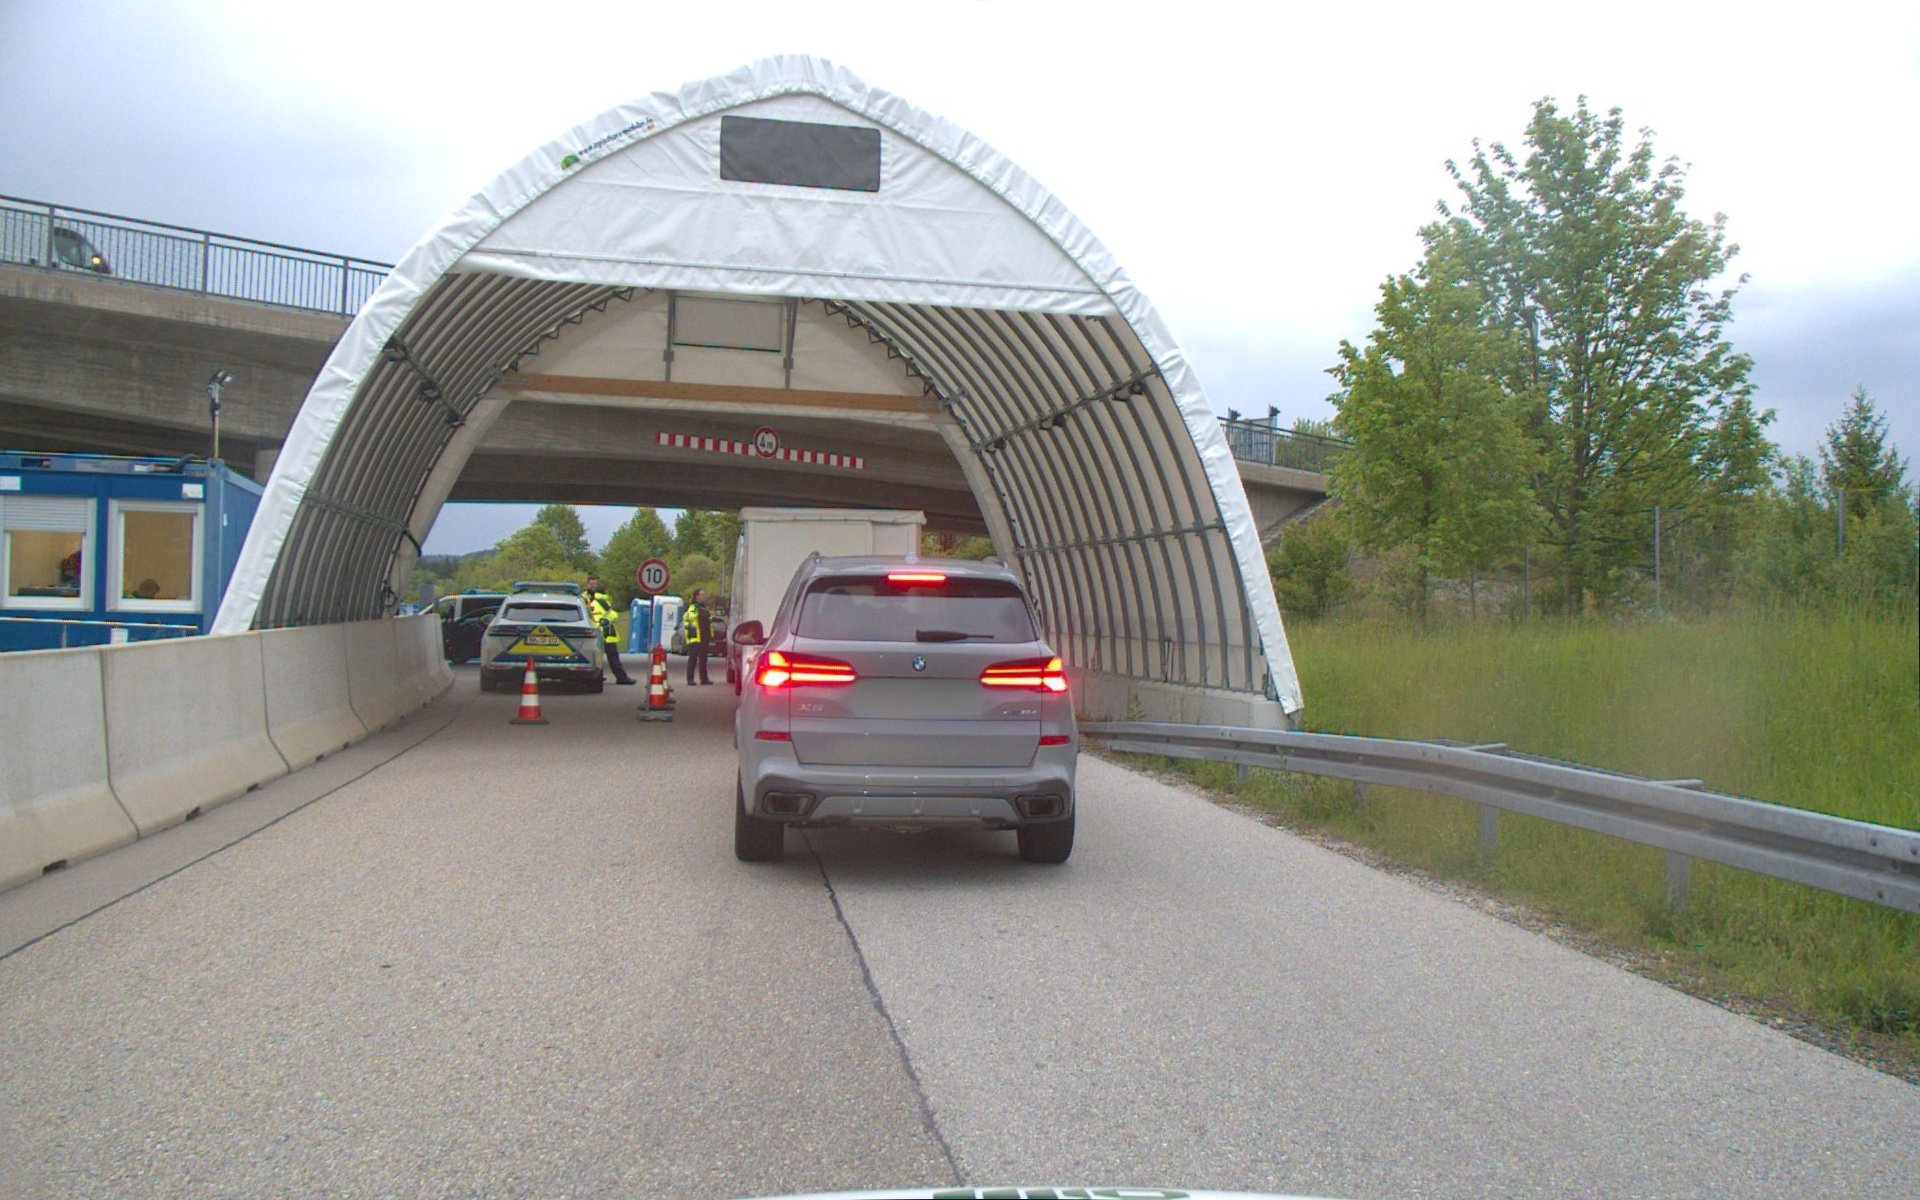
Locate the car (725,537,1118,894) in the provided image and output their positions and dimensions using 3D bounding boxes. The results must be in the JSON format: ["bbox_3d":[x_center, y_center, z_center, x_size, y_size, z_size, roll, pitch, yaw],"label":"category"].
[{"bbox_3d":[-0.457,0.591,10.460,1.957,1.796,3.991,0,0,-9],"label":"car"}]

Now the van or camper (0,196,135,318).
[{"bbox_3d":[-19.210,-6.839,32.169,5.400,1.801,1.869,1,-1,-40],"label":"van or camper"}]

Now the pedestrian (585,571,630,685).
[{"bbox_3d":[-6.171,0.485,28.968,0.736,1.952,0.760,0,-1,-15],"label":"pedestrian"}]

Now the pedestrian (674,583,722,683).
[{"bbox_3d":[-4.670,0.582,29.477,0.742,1.752,0.778,0,-1,-18],"label":"pedestrian"}]

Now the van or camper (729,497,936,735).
[{"bbox_3d":[-1.851,0.190,21.507,2.189,2.597,6.597,0,0,-9],"label":"van or camper"}]

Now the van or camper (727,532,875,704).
[{"bbox_3d":[-2.761,0.283,27.568,2.065,2.563,5.538,0,0,-10],"label":"van or camper"}]

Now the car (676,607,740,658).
[{"bbox_3d":[-8.933,1.125,58.380,1.959,1.752,3.883,0,0,-13],"label":"car"}]

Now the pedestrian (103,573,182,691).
[{"bbox_3d":[-9.846,0.379,19.923,0.597,1.397,0.628,0,-1,8],"label":"pedestrian"}]

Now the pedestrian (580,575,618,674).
[{"bbox_3d":[-6.544,0.442,30.031,0.597,1.784,0.665,0,-1,-6],"label":"pedestrian"}]

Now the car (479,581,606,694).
[{"bbox_3d":[-6.754,0.571,26.772,1.846,1.675,3.984,0,0,-15],"label":"car"}]

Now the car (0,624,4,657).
[{"bbox_3d":[-59.303,2.479,99.443,1.953,1.989,5.086,0,0,-16],"label":"car"}]

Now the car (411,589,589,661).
[{"bbox_3d":[-13.552,0.731,48.857,4.703,2.049,1.842,0,-1,7],"label":"car"}]
